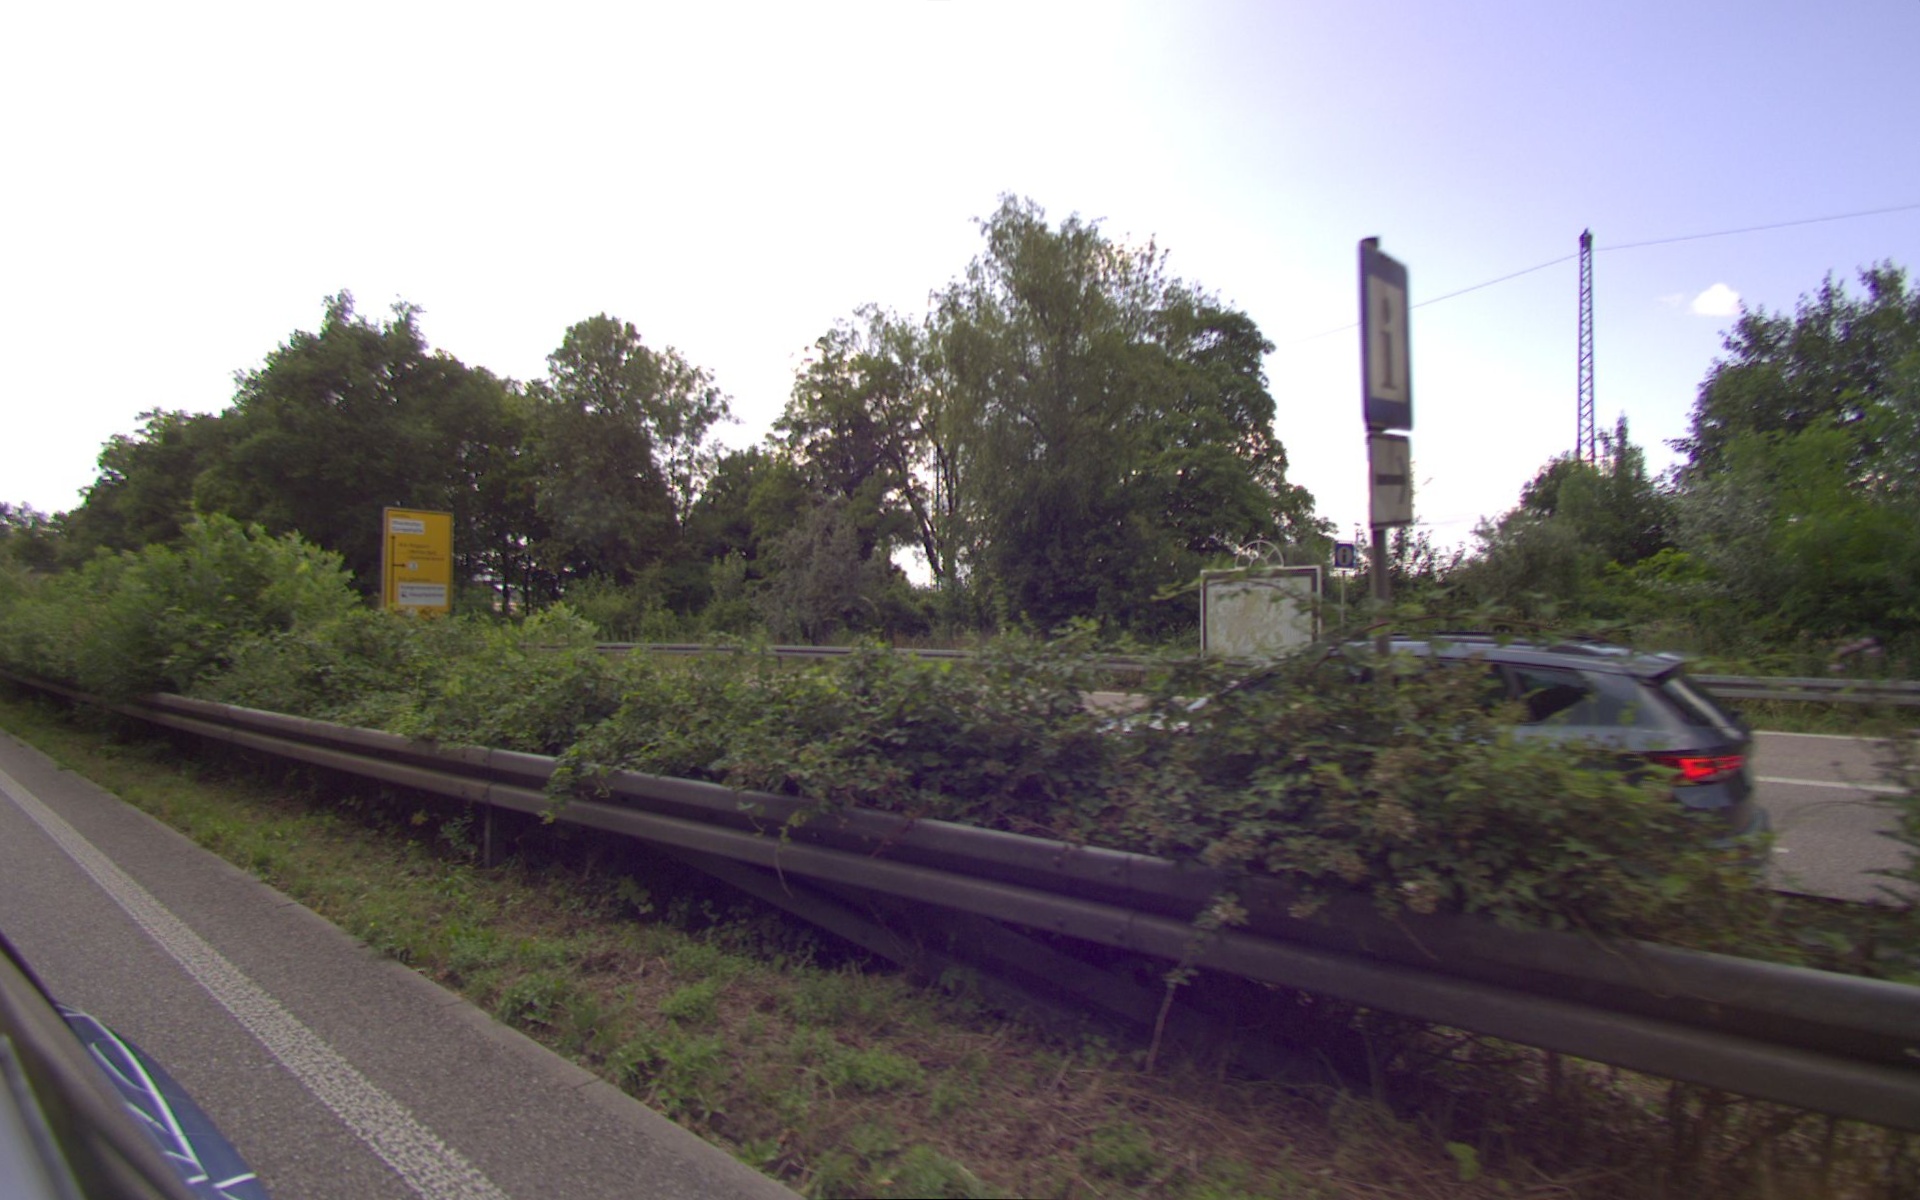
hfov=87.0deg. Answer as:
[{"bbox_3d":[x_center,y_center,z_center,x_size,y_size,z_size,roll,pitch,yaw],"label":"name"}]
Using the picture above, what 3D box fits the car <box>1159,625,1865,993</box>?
[{"bbox_3d":[3.185,0.968,6.260,3.531,1.620,1.569,-1,-2,41],"label":"car"}]
